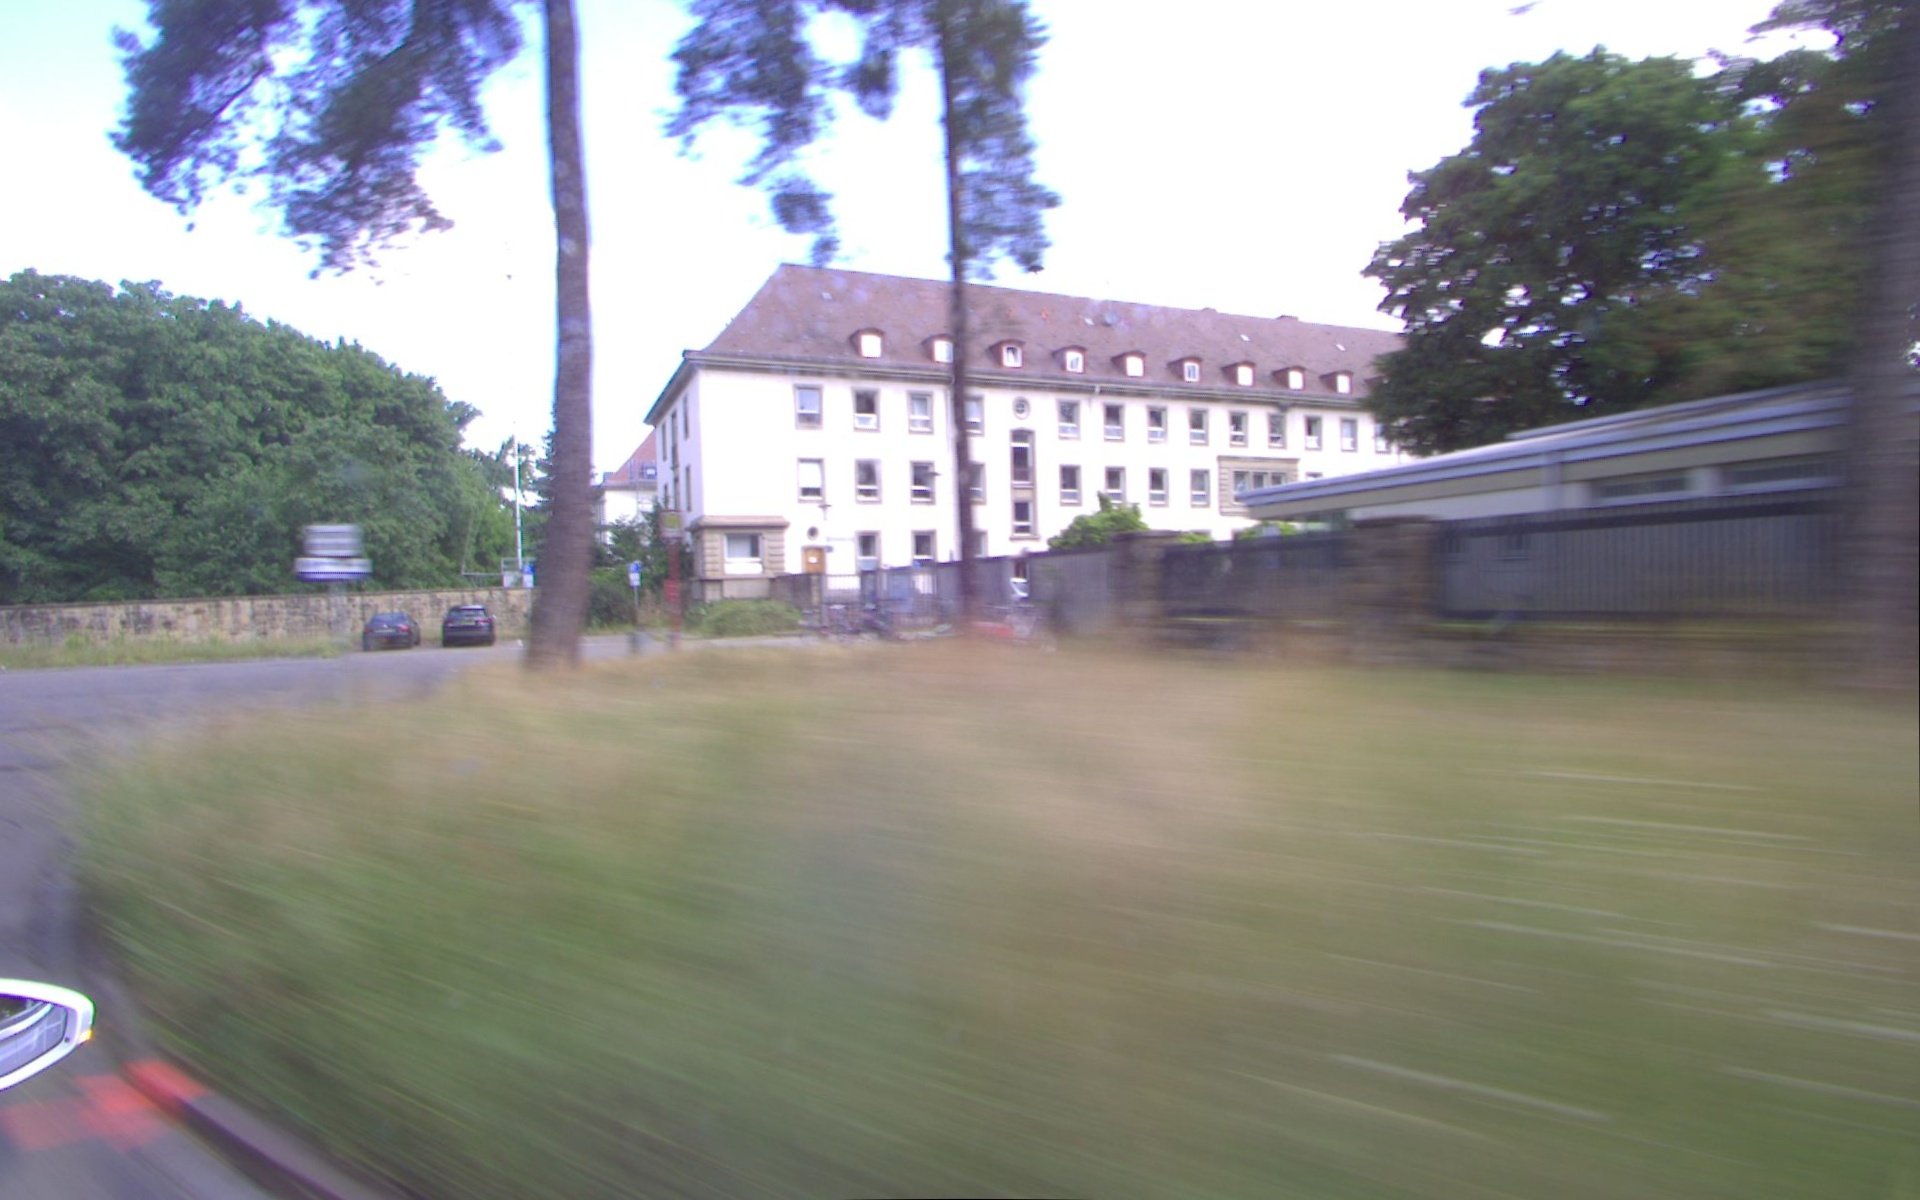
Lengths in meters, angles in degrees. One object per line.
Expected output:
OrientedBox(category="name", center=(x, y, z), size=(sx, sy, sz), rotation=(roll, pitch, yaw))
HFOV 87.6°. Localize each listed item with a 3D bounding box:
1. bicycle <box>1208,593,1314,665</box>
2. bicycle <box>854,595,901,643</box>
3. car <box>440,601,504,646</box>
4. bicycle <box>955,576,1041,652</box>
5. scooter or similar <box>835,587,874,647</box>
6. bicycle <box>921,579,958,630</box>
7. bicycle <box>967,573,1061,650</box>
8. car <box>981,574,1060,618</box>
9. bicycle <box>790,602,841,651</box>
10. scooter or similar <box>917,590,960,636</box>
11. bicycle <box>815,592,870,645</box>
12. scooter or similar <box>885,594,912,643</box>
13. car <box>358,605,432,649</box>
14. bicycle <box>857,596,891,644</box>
OrientedBox(category="bicycle", center=(4.572, 0.431, 15.362), size=(0.367, 1.030, 1.946), rotation=(-3, 0, -24))
OrientedBox(category="bicycle", center=(-2.359, 0.554, 28.504), size=(0.662, 1.294, 1.733), rotation=(-3, 0, -27))
OrientedBox(category="car", center=(-19.351, 0.879, 39.843), size=(1.868, 1.568, 3.987), rotation=(-2, 2, -21))
OrientedBox(category="bicycle", center=(0.792, 0.275, 20.561), size=(1.777, 1.436, 0.584), rotation=(-4, 2, -39))
OrientedBox(category="scooter or similar", center=(-2.246, 0.376, 21.285), size=(0.432, 1.244, 1.086), rotation=(-1, -1, -28))
OrientedBox(category="bicycle", center=(-0.609, 0.135, 29.033), size=(0.507, 1.436, 1.903), rotation=(-1, 0, -18))
OrientedBox(category="bicycle", center=(1.092, 0.206, 20.025), size=(1.959, 1.436, 0.573), rotation=(-3, 2, -40))
OrientedBox(category="car", center=(2.846, -0.243, 48.303), size=(1.830, 1.776, 4.427), rotation=(-3, 5, -27))
OrientedBox(category="bicycle", center=(-3.435, 0.622, 23.694), size=(0.729, 1.099, 1.677), rotation=(-1, 0, -25))
OrientedBox(category="scooter or similar", center=(-0.563, 0.339, 26.686), size=(0.433, 1.166, 1.242), rotation=(-1, 2, 39))
OrientedBox(category="bicycle", center=(-3.008, 0.471, 25.451), size=(0.626, 1.257, 2.165), rotation=(-3, 0, -28))
OrientedBox(category="scooter or similar", center=(-1.634, 0.485, 26.473), size=(0.379, 1.262, 1.282), rotation=(-2, 0, -17))
OrientedBox(category="car", center=(-22.032, 1.017, 39.194), size=(1.847, 1.461, 3.987), rotation=(-2, 2, -21))
OrientedBox(category="bicycle", center=(-2.259, 0.519, 26.231), size=(0.611, 1.178, 1.609), rotation=(-3, 0, -13))
